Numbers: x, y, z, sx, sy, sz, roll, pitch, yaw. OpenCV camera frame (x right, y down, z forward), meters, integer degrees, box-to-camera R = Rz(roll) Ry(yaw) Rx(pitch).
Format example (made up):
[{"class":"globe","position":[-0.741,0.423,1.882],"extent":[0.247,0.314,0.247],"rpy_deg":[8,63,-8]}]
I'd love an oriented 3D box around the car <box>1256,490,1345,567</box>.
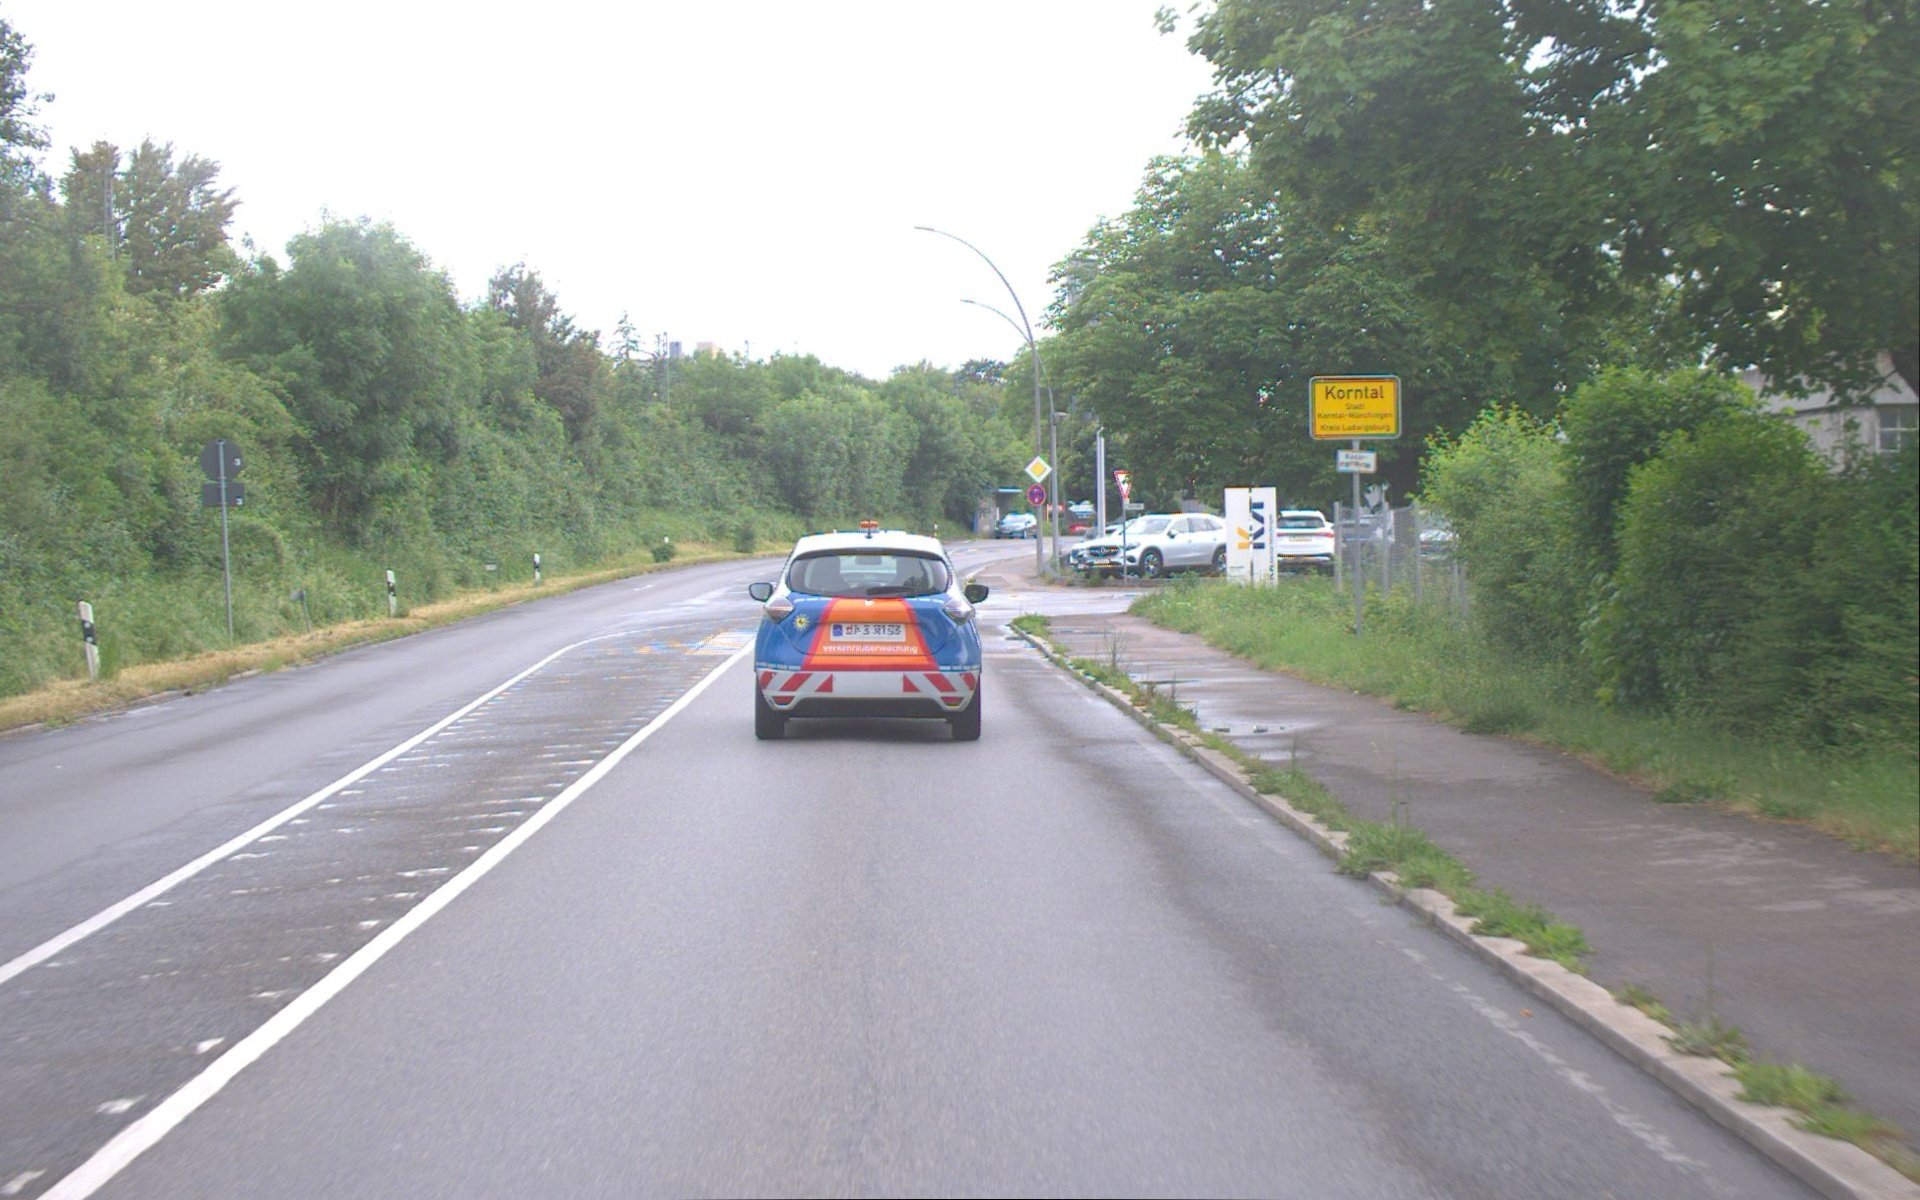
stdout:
[{"class":"car","position":[8.358,-1.733,84.735],"extent":[1.826,1.823,4.264],"rpy_deg":[1,1,1]}]

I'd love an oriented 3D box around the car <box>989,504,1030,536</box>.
[{"class":"car","position":[2.905,-4.690,201.441],"extent":[1.695,1.784,3.854],"rpy_deg":[1,1,11]}]

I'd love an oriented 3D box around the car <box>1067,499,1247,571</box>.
[{"class":"car","position":[5.059,-1.648,87.690],"extent":[2.034,1.745,4.606],"rpy_deg":[2,1,44]}]

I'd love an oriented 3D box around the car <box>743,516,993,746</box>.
[{"class":"car","position":[-0.728,0.205,27.128],"extent":[1.805,1.662,3.856],"rpy_deg":[1,1,-2]}]

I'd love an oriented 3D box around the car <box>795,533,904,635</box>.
[{"class":"car","position":[-1.824,-0.278,56.122],"extent":[1.694,1.590,3.856],"rpy_deg":[1,1,-2]}]

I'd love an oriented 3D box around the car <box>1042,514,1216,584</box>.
[{"class":"car","position":[4.480,-1.316,90.588],"extent":[2.034,1.745,4.606],"rpy_deg":[-1,-1,44]}]

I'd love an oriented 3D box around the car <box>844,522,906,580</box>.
[{"class":"car","position":[-2.674,-1.557,109.035],"extent":[1.694,1.784,3.856],"rpy_deg":[1,1,2]}]
